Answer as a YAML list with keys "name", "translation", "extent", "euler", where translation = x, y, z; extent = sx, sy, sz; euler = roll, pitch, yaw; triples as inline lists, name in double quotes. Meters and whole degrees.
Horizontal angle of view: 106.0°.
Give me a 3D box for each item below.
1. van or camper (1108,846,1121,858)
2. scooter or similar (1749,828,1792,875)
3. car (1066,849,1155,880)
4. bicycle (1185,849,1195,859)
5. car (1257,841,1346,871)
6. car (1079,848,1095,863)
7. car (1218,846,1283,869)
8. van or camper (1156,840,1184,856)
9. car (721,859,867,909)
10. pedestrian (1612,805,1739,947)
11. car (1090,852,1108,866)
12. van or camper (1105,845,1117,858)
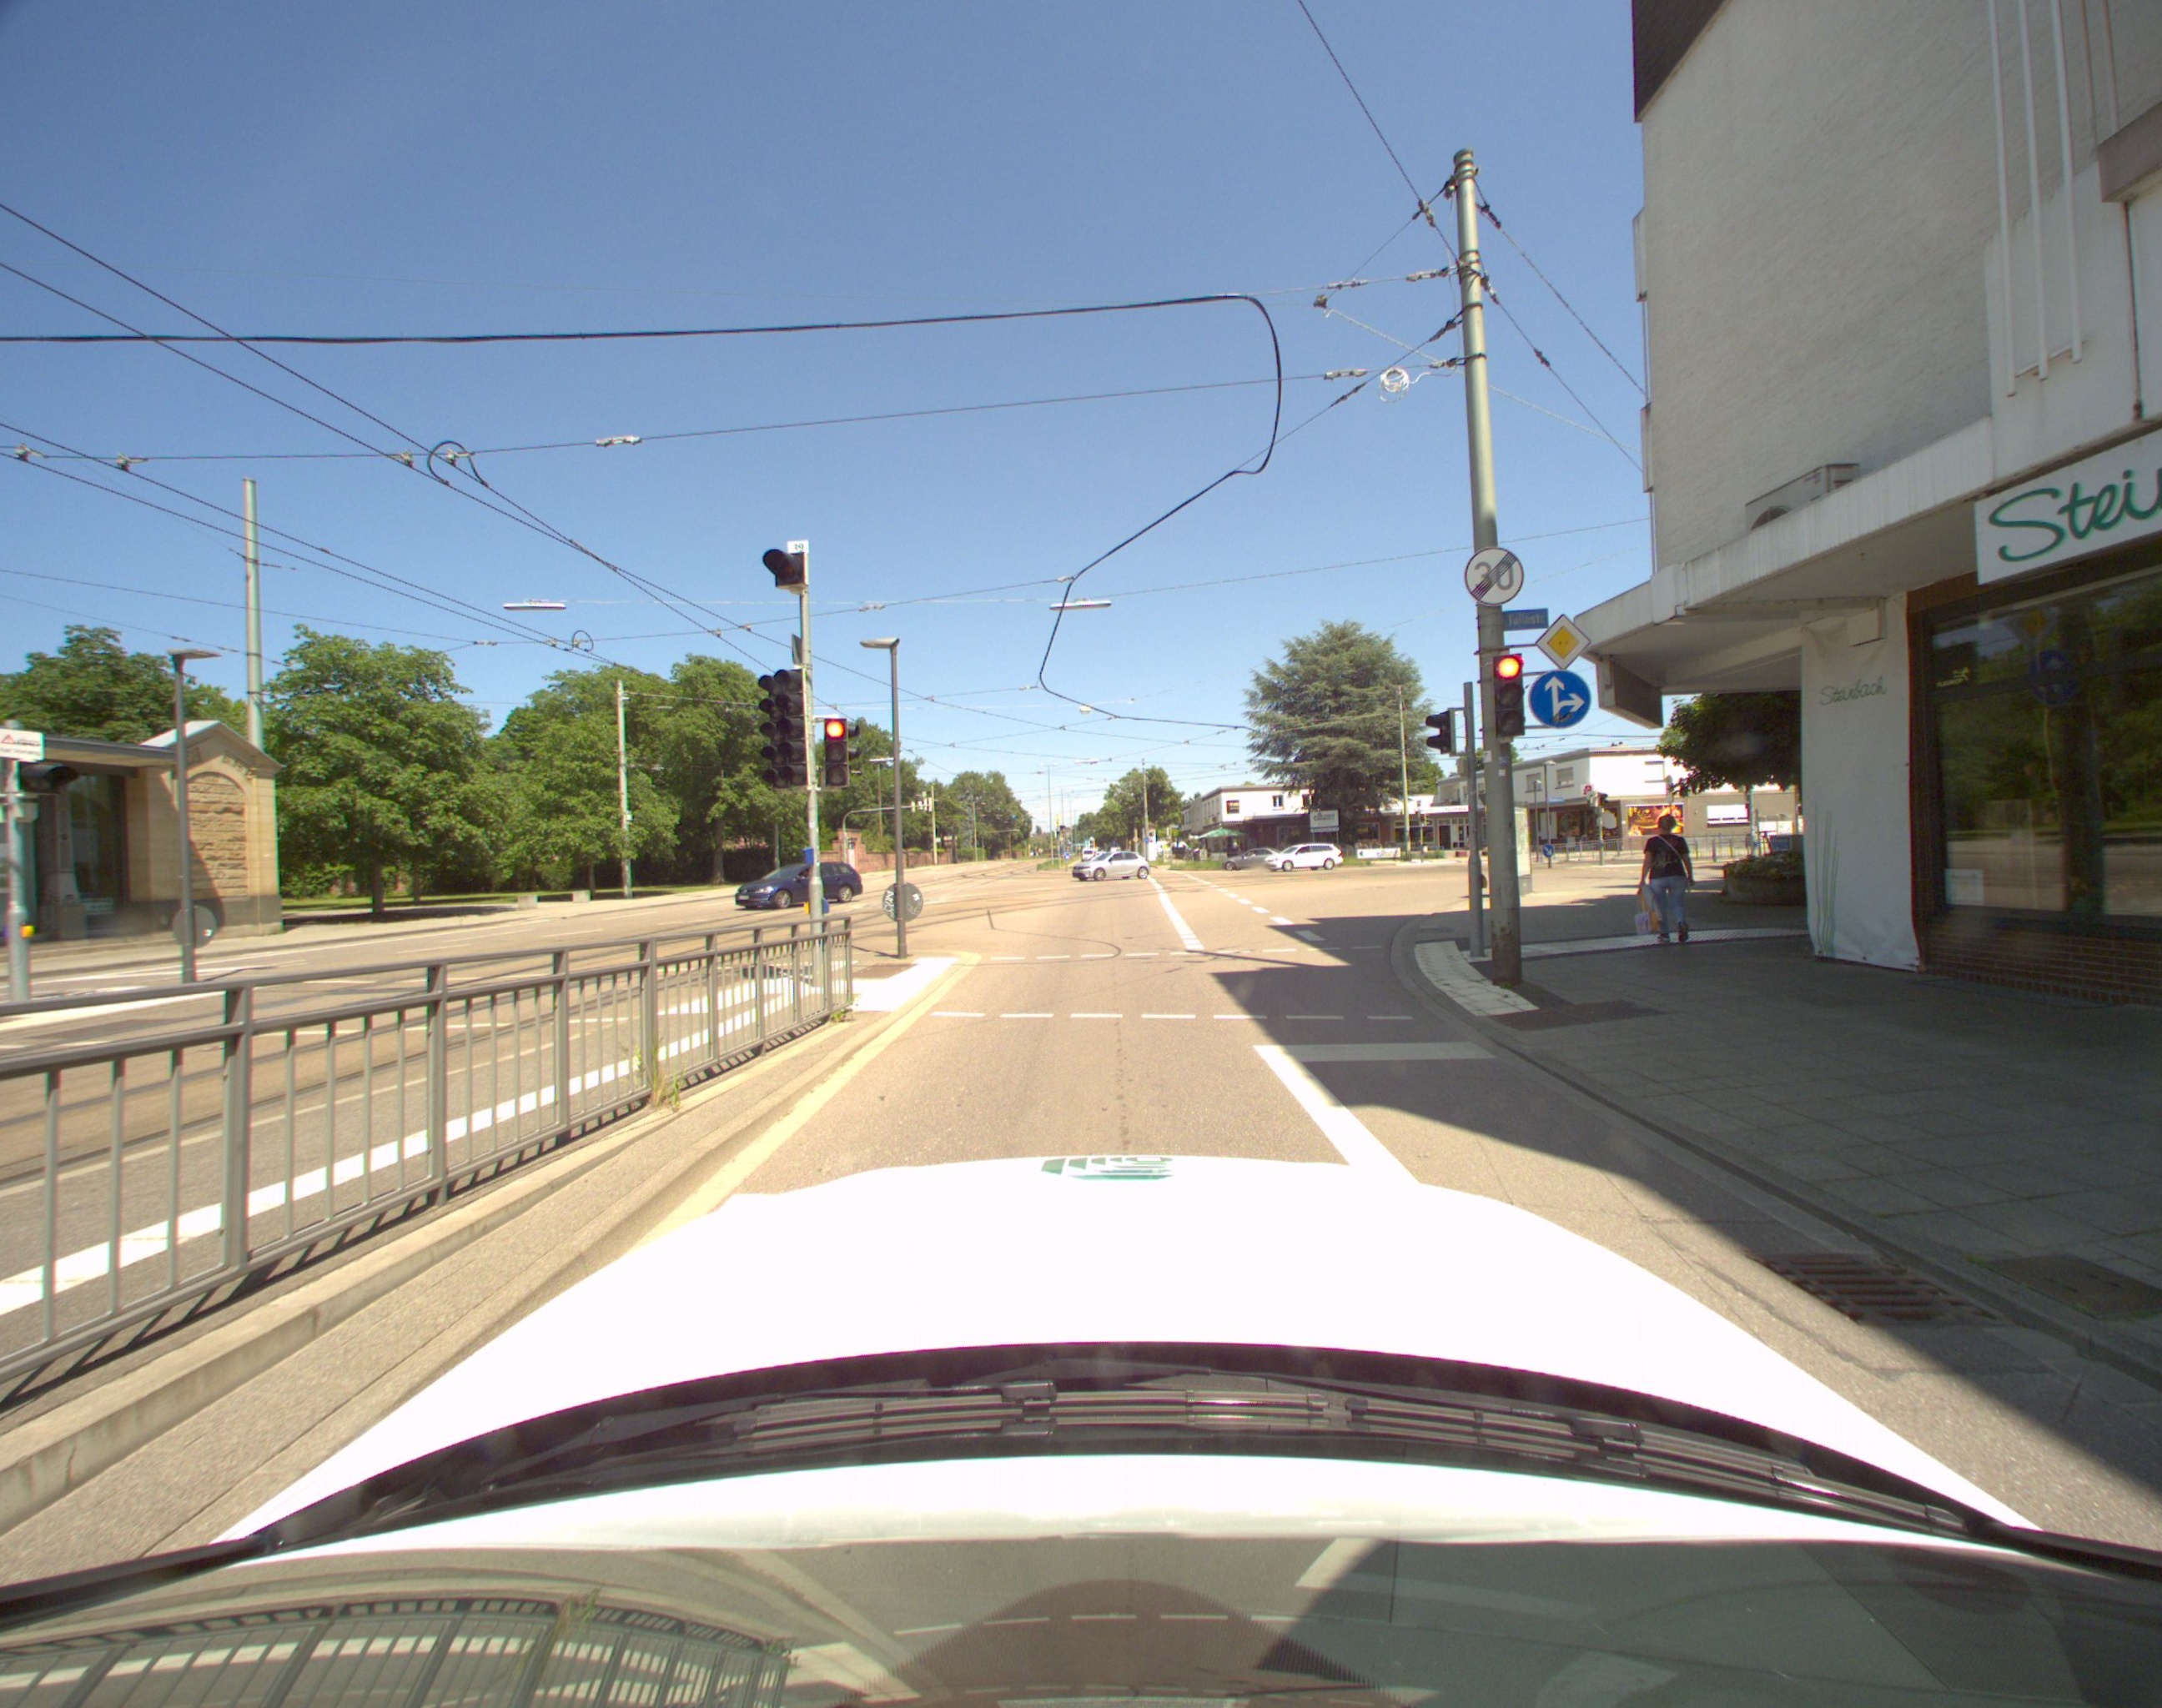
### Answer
- name: "van or camper"
  translation: [5.378, -0.344, 130.499]
  extent: [1.915, 1.772, 4.001]
  euler: [-2, 0, 2]
- name: "scooter or similar"
  translation: [18.728, -0.069, 22.116]
  extent: [1.258, 1.212, 0.391]
  euler: [-2, 0, -26]
- name: "car"
  translation: [1.465, 0.521, 40.520]
  extent: [4.064, 1.362, 1.806]
  euler: [-2, 0, -30]
- name: "bicycle"
  translation: [11.315, 0.004, 84.441]
  extent: [1.028, 1.014, 2.643]
  euler: [-2, 0, 8]
- name: "car"
  translation: [12.243, 0.097, 45.308]
  extent: [4.491, 1.489, 1.815]
  euler: [-2, 0, -15]
- name: "car"
  translation: [0.777, 0.198, 108.835]
  extent: [1.988, 1.860, 3.998]
  euler: [-2, 0, -1]
- name: "car"
  translation: [10.990, 0.220, 52.857]
  extent: [3.795, 1.351, 1.651]
  euler: [-2, 0, 23]
- name: "van or camper"
  translation: [15.643, -1.057, 143.291]
  extent: [4.742, 2.671, 2.135]
  euler: [-2, 0, -1]
- name: "car"
  translation: [-9.628, 0.985, 27.711]
  extent: [1.838, 1.442, 4.506]
  euler: [-2, 0, 30]
- name: "pedestrian"
  translation: [7.202, 0.252, 9.919]
  extent: [0.822, 1.583, 0.828]
  euler: [-6, -1, 7]
- name: "car"
  translation: [1.890, 0.485, 86.569]
  extent: [1.666, 1.435, 3.472]
  euler: [-2, 0, -2]
- name: "van or camper"
  translation: [5.605, -0.458, 152.979]
  extent: [1.988, 2.464, 3.998]
  euler: [-2, 0, -2]
